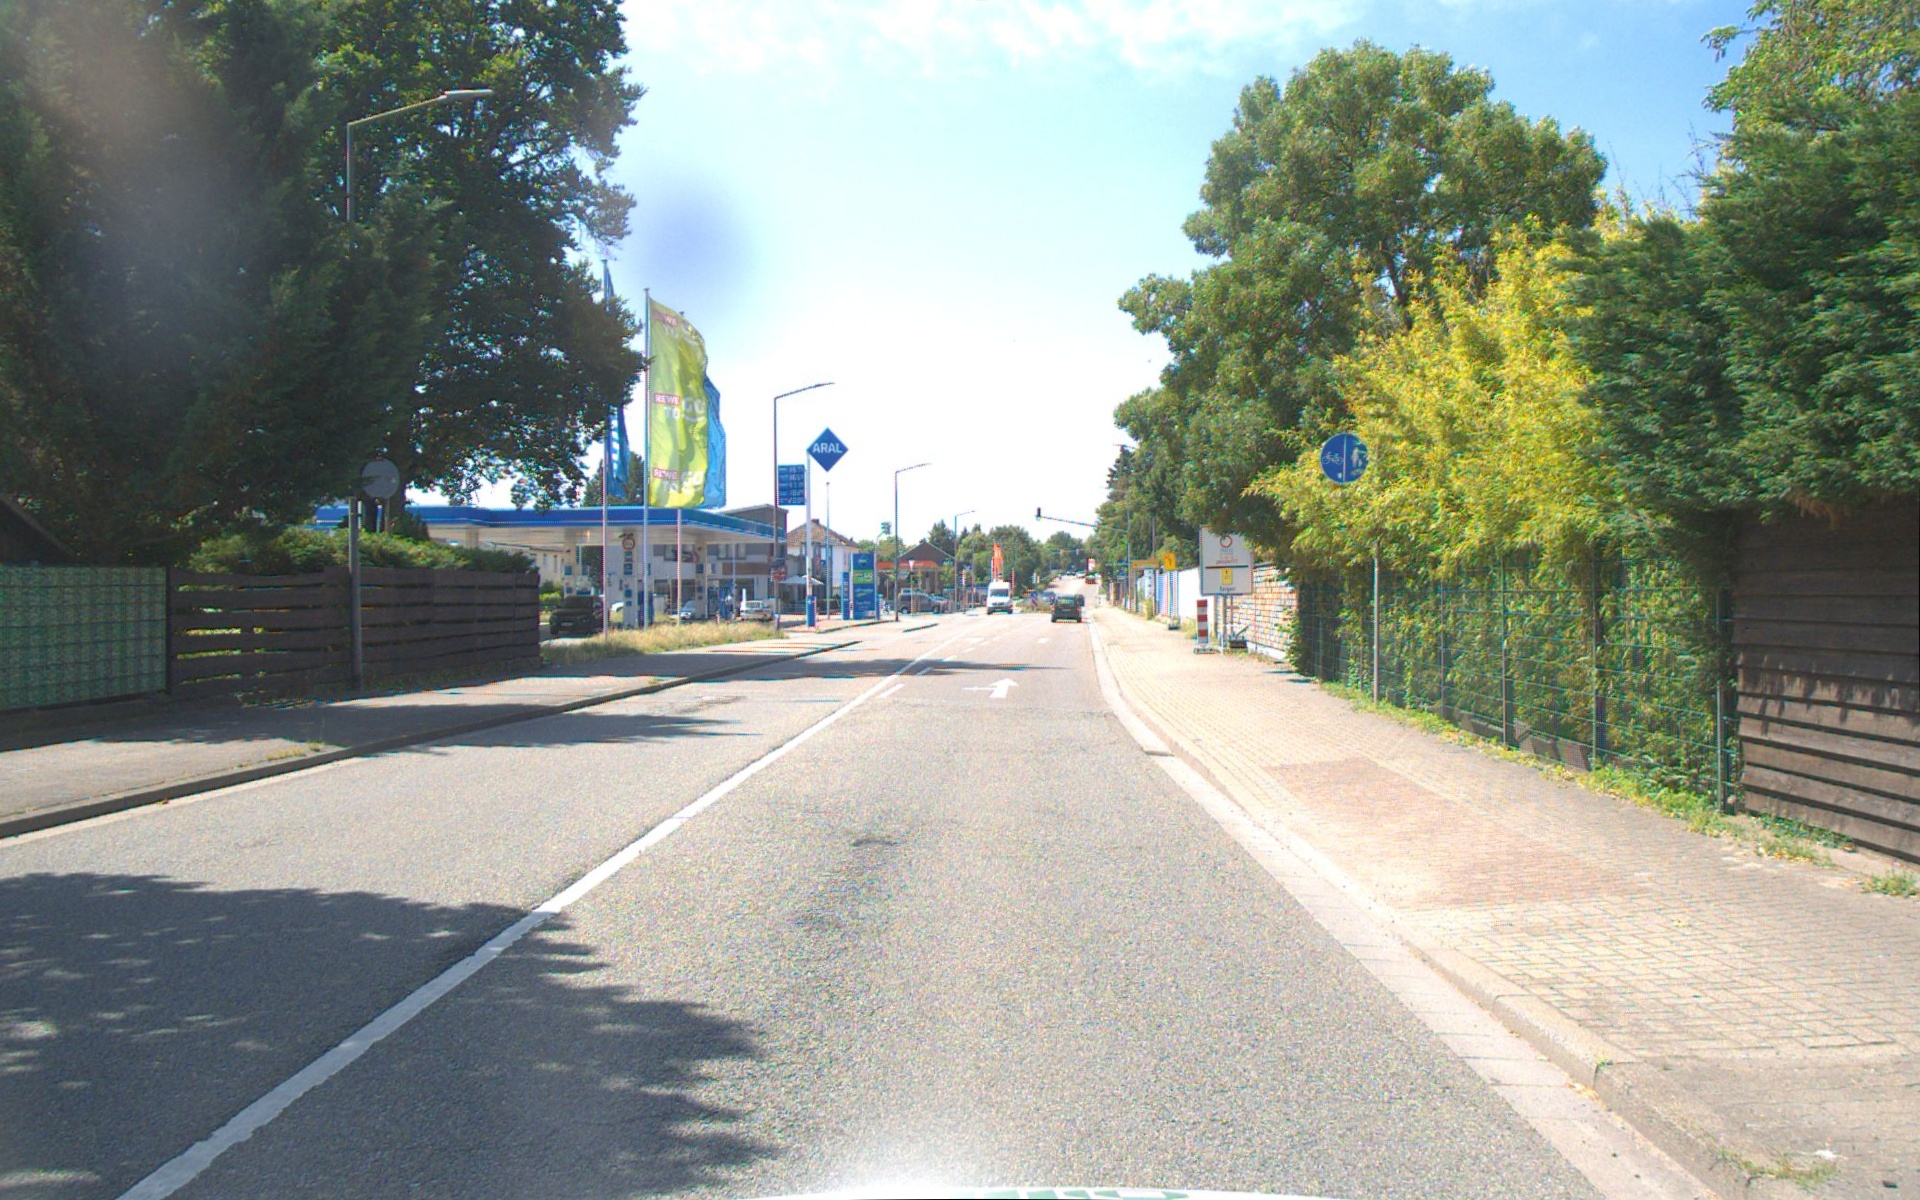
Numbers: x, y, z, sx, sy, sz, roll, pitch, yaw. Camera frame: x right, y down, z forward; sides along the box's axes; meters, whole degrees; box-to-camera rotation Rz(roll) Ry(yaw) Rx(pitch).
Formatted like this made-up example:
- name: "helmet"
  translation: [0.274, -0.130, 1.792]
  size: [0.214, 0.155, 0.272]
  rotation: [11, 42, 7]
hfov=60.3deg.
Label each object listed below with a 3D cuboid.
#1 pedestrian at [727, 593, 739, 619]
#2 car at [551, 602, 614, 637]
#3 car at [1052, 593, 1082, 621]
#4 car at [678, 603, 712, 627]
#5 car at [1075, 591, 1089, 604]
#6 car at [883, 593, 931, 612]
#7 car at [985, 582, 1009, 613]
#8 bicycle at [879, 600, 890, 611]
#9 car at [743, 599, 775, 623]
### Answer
- name: "pedestrian"
  translation: [-15.177, 0.390, 110.733]
  size: [0.602, 1.720, 0.704]
  rotation: [-1, 0, -22]
- name: "car"
  translation: [-16.832, 0.851, 73.867]
  size: [1.635, 1.405, 4.002]
  rotation: [-1, 0, 4]
- name: "car"
  translation: [5.978, 0.390, 92.371]
  size: [1.630, 1.481, 3.474]
  rotation: [-1, 0, 4]
- name: "car"
  translation: [-17.540, 0.999, 109.579]
  size: [1.584, 1.445, 3.712]
  rotation: [-3, 0, 0]
- name: "car"
  translation: [14.622, -0.344, 198.037]
  size: [1.630, 1.481, 3.474]
  rotation: [-1, 0, 4]
- name: "car"
  translation: [-4.482, 0.229, 139.920]
  size: [3.905, 1.534, 1.555]
  rotation: [-1, 0, 1]
- name: "car"
  translation: [3.082, -0.204, 138.120]
  size: [1.952, 2.465, 5.948]
  rotation: [0, -1, 2]
- name: "bicycle"
  translation: [-6.005, 0.441, 131.446]
  size: [0.599, 0.807, 2.576]
  rotation: [-1, 0, 4]
- name: "car"
  translation: [-13.370, 0.723, 109.990]
  size: [1.584, 1.445, 3.712]
  rotation: [-3, 0, 0]
